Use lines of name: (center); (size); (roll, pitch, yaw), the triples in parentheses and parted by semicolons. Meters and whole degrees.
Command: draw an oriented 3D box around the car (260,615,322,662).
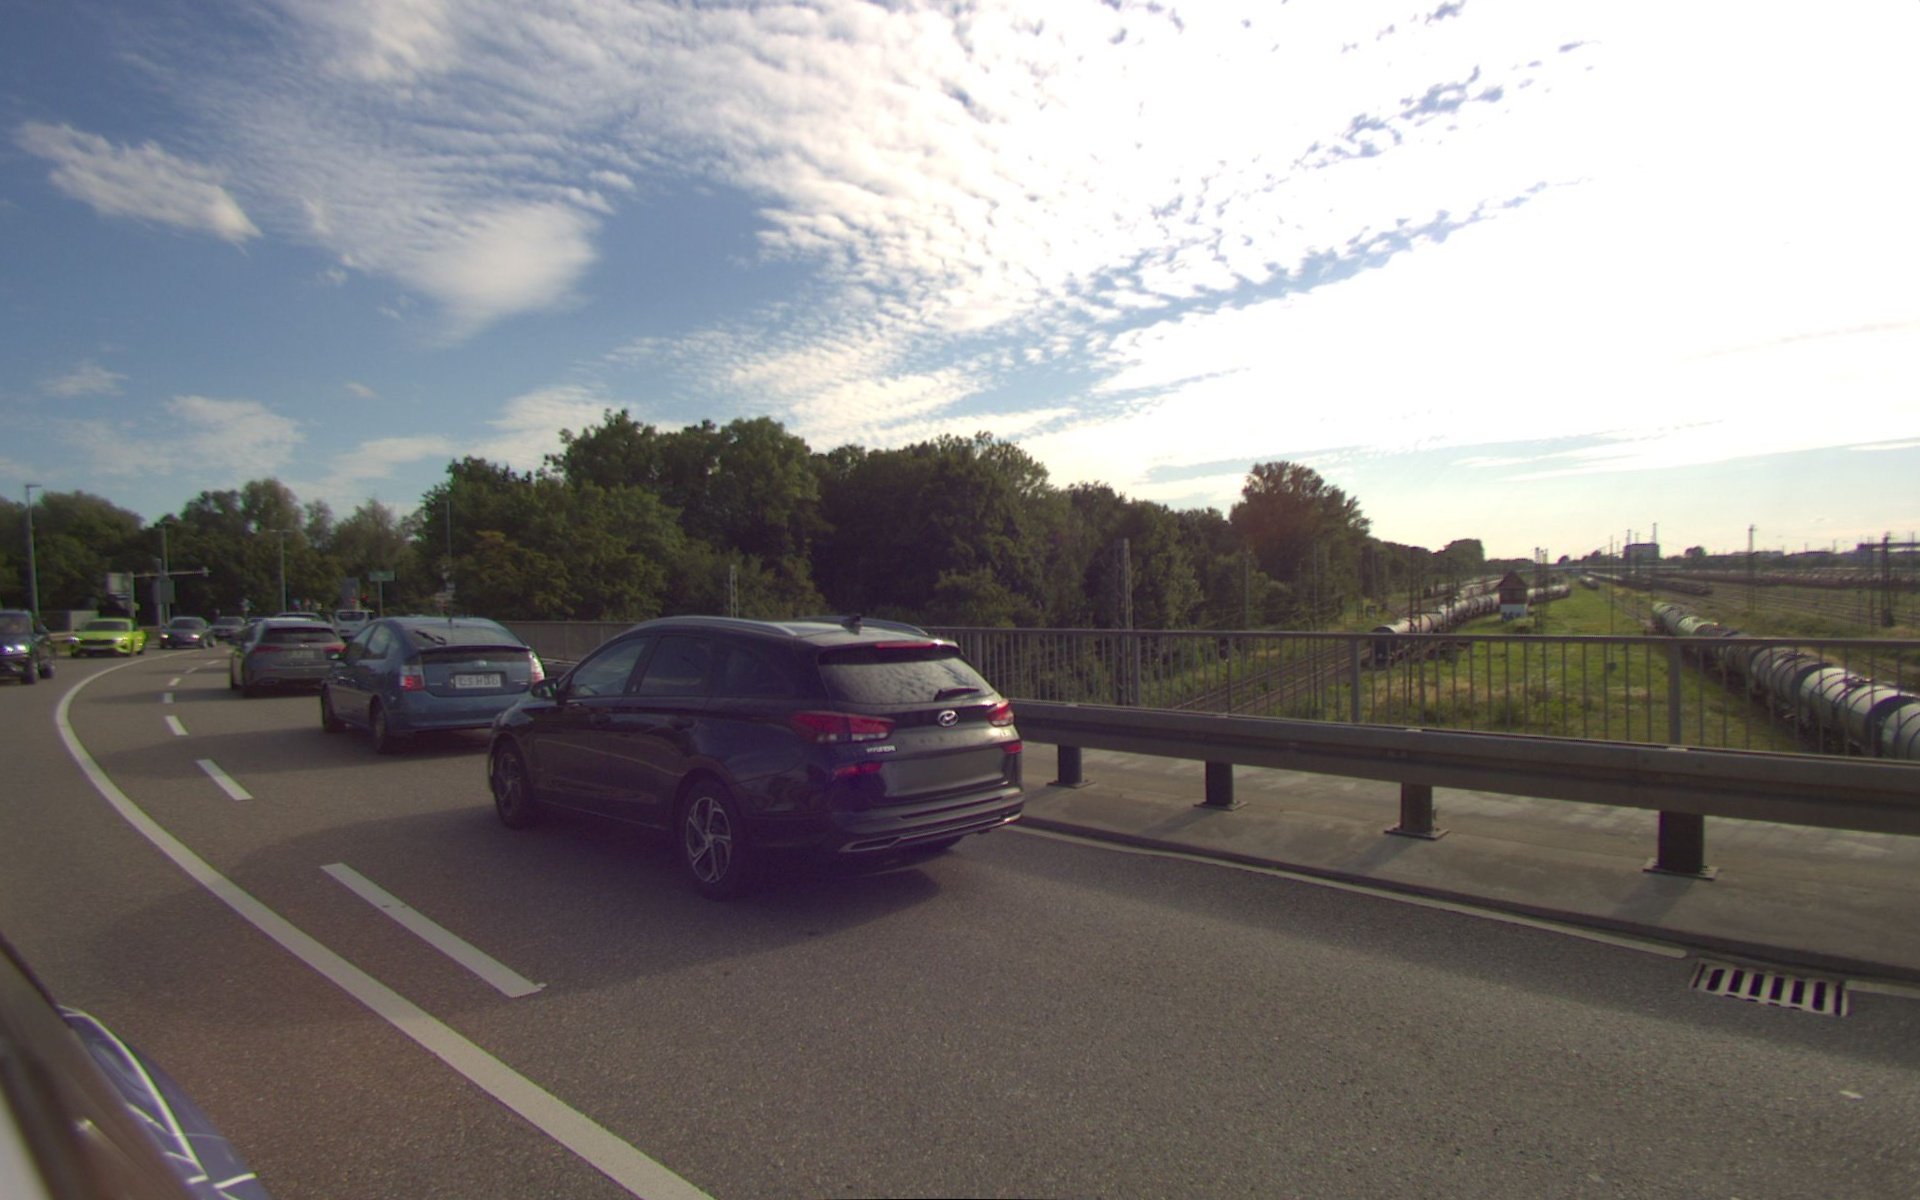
car: (-25.584, 1.435, 38.823); (1.844, 1.679, 4.642); (0, -1, -32)

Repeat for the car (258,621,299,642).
car: (-53.340, 2.444, 79.271); (1.965, 1.612, 4.295); (0, -1, -24)

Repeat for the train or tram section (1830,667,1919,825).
train or tram section: (34.629, 5.145, 35.348); (3.084, 4.748, 16.583); (-1, -1, 29)

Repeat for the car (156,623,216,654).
car: (-36.709, 1.794, 48.066); (1.663, 1.333, 3.796); (0, -1, -28)

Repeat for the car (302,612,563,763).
car: (-6.548, 0.921, 12.322); (1.739, 1.501, 4.396); (1, -2, -43)

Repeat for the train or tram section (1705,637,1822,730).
train or tram section: (50.635, 4.950, 64.396); (3.084, 4.748, 16.583); (-1, -1, 29)

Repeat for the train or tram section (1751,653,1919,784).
train or tram section: (42.620, 5.325, 49.883); (3.084, 4.748, 16.583); (-1, -1, 29)

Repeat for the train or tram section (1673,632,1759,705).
train or tram section: (58.608, 5.039, 78.869); (3.084, 4.748, 16.583); (-1, -1, 29)

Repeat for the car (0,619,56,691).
car: (-21.971, 1.199, 22.962); (1.790, 1.518, 4.400); (1, -1, -37)

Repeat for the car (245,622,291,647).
car: (-58.445, 2.912, 85.520); (1.966, 2.029, 4.285); (0, -1, -16)

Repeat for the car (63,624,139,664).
car: (-32.747, 1.645, 38.696); (1.790, 1.415, 4.402); (1, -1, -35)

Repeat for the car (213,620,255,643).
car: (-45.261, 1.962, 63.120); (1.663, 1.333, 3.796); (0, -1, -29)

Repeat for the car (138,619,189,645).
car: (-42.696, 1.692, 54.342); (1.663, 1.333, 3.796); (0, -1, -31)

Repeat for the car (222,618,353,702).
car: (-13.414, 1.107, 20.067); (1.790, 1.468, 4.333); (1, -2, -39)

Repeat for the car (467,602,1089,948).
car: (-1.471, 0.806, 6.590); (4.447, 1.501, 1.740); (-1, -2, 44)

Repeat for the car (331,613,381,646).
car: (-37.295, 1.788, 62.605); (1.957, 1.979, 5.064); (0, -1, -22)

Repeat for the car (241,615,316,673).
car: (-19.800, 1.238, 29.351); (1.661, 1.557, 3.932); (1, -1, -36)
